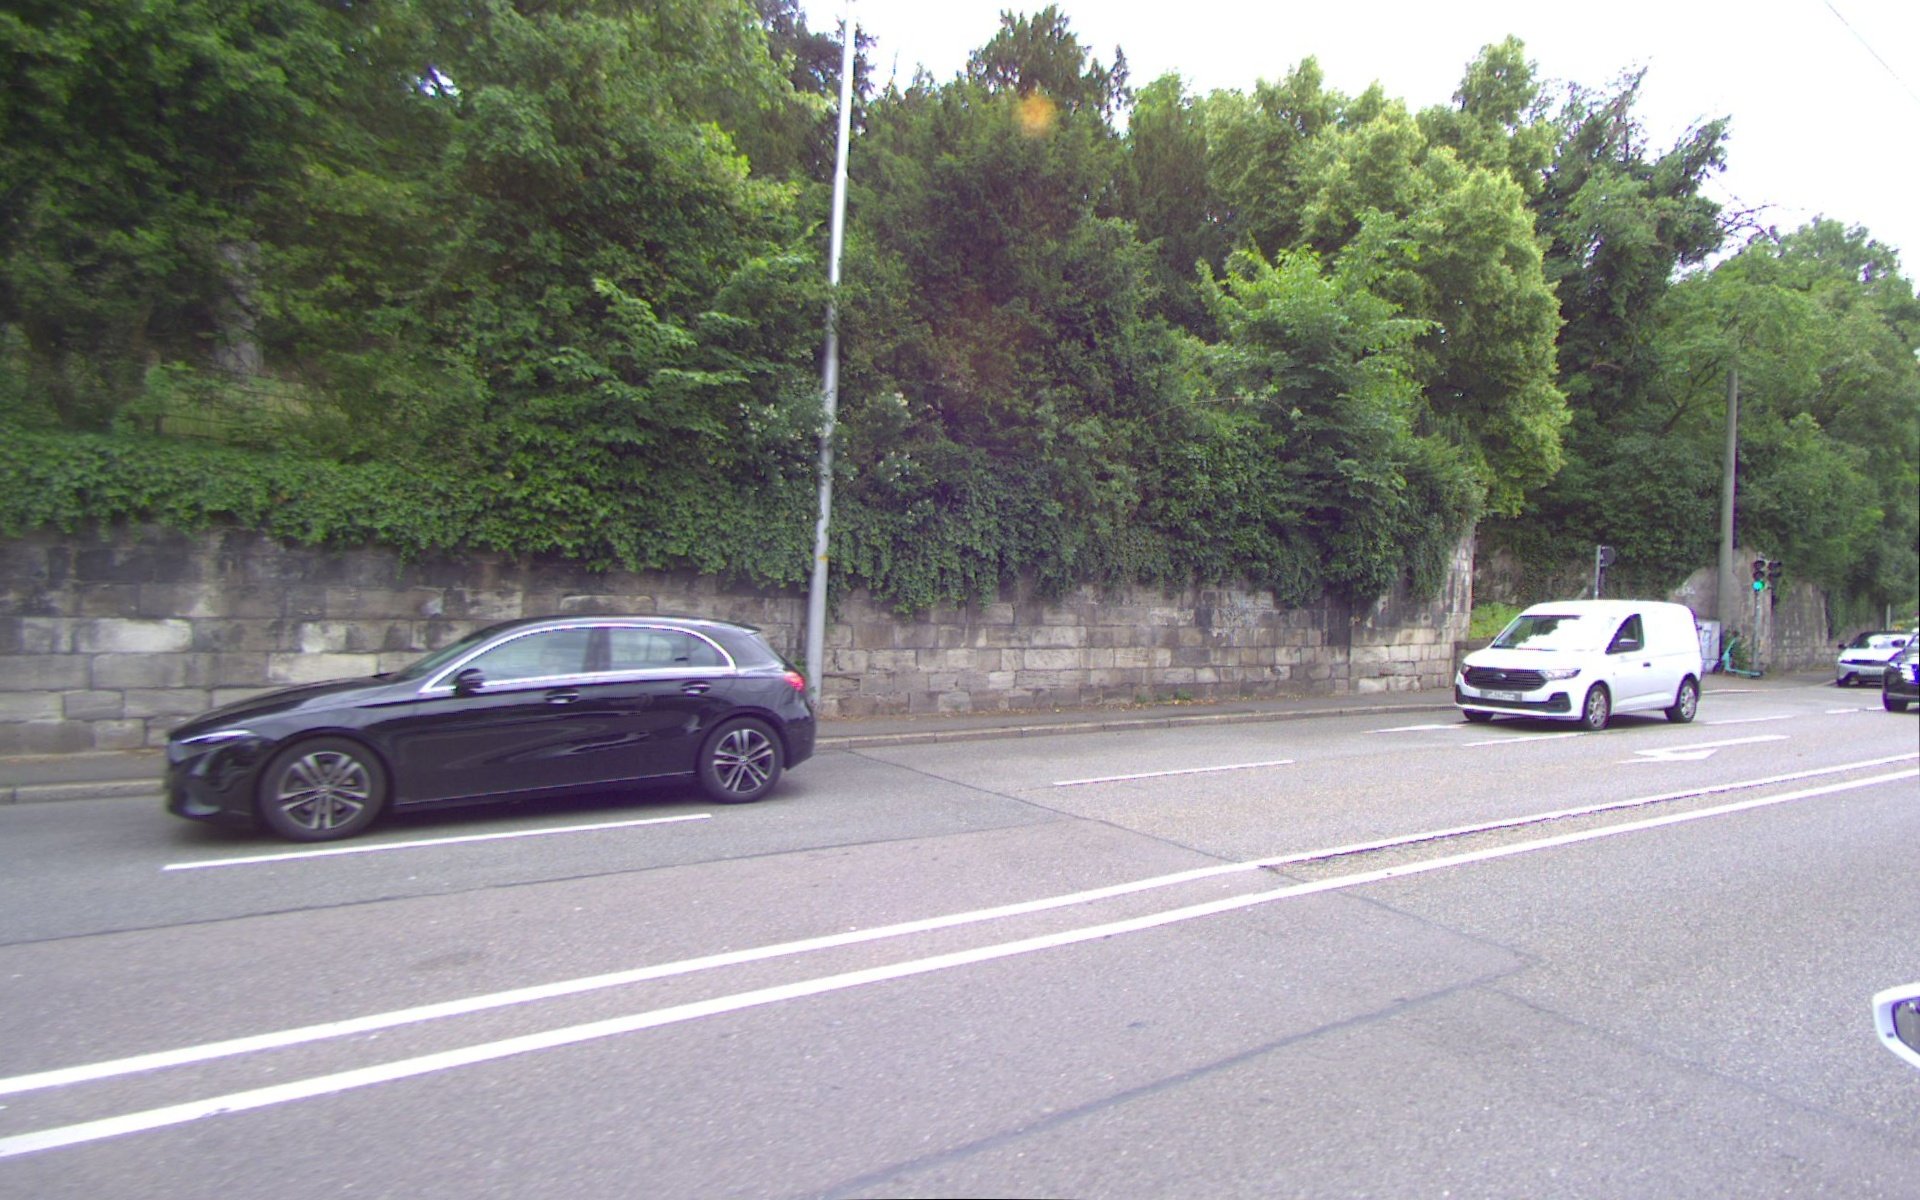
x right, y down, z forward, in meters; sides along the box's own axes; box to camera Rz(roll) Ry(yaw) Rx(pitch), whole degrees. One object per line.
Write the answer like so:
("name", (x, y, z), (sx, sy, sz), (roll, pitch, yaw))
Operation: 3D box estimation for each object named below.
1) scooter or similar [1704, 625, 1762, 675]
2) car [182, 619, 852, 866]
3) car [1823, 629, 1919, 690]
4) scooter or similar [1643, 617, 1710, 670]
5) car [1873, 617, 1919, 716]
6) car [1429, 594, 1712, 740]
("scooter or similar", (21.236, 1.357, 27.614), (1.076, 1.254, 0.434), (4, 3, 10))
("car", (-3.047, 0.886, 7.543), (4.204, 1.420, 1.555), (1, -2, -31))
("car", (24.195, 1.489, 26.108), (3.981, 1.421, 1.705), (1, -1, -34))
("scooter or similar", (19.799, 1.195, 27.777), (1.324, 1.253, 0.434), (8, 4, 3))
("car", (18.182, 1.154, 17.970), (4.317, 1.654, 1.837), (1, 0, -35))
("car", (9.169, 0.918, 14.992), (4.349, 1.873, 1.882), (2, 0, -33))
